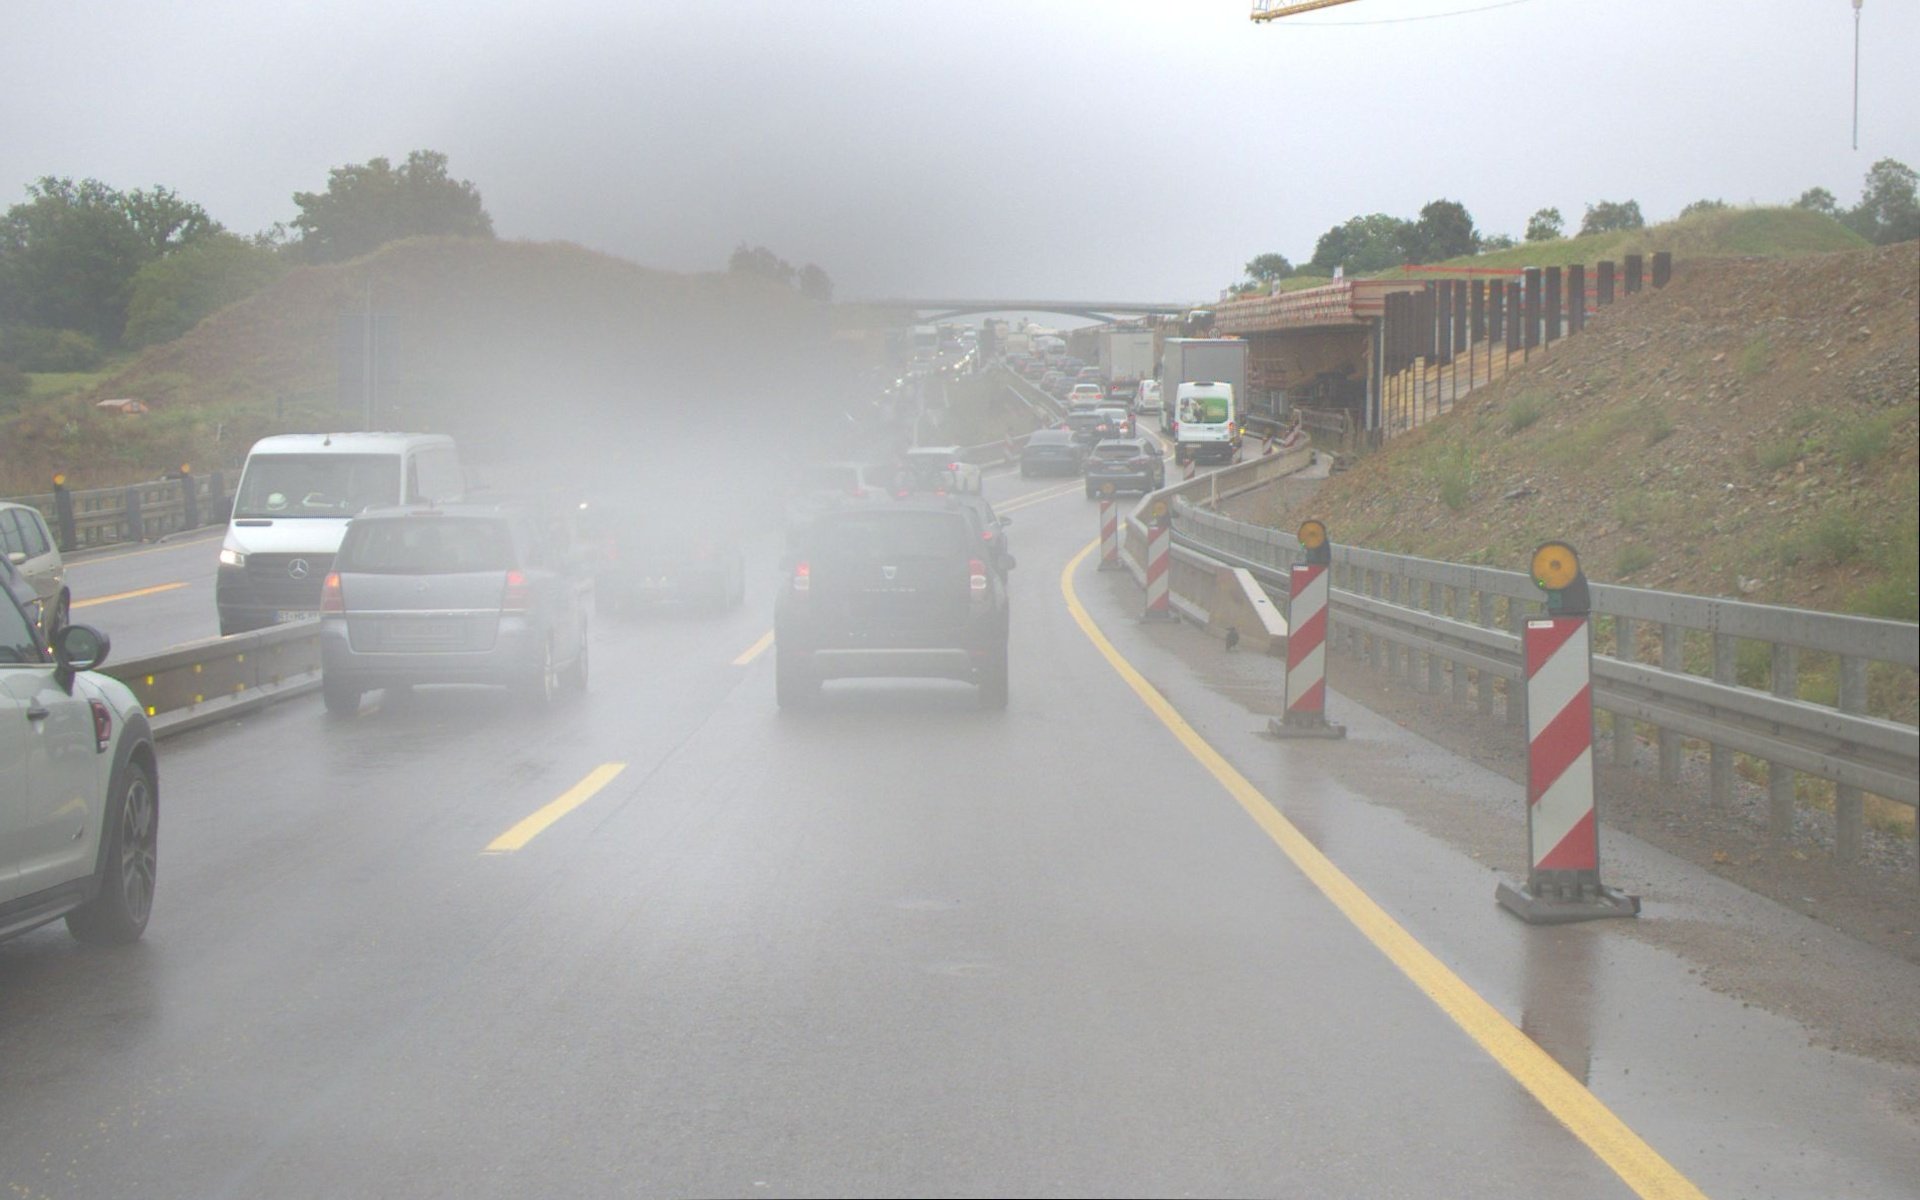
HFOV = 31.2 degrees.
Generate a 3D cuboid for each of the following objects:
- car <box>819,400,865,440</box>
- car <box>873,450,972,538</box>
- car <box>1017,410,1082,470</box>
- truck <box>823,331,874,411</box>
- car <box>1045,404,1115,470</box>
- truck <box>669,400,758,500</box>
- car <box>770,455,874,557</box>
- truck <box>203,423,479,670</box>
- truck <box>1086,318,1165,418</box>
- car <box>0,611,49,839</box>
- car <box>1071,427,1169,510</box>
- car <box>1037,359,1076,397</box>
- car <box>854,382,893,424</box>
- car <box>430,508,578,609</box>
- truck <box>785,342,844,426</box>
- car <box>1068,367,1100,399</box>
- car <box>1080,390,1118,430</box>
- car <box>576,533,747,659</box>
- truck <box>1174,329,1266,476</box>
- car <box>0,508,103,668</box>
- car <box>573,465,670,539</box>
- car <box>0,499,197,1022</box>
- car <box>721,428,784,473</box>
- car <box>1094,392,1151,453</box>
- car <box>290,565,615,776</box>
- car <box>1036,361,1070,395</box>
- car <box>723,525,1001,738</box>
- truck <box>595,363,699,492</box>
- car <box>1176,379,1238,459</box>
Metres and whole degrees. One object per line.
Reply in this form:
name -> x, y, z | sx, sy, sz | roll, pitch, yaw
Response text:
car -> -4.962, -7.615, 145.490 | 1.737, 1.678, 5.553 | 1, 3, 0
car -> -0.930, -2.685, 88.038 | 1.994, 2.155, 4.139 | 0, 1, 7
car -> 2.791, -5.022, 108.025 | 1.993, 1.755, 3.815 | 0, 1, 1
truck -> -7.769, -15.999, 240.683 | 3.142, 5.398, 8.524 | 1, 2, 1
car -> 4.177, -5.636, 119.338 | 1.994, 2.155, 4.139 | 0, 1, 8
truck -> -6.878, -4.197, 96.427 | 2.147, 2.704, 6.017 | 0, 2, -1
car -> -2.759, -1.875, 69.463 | 1.993, 2.007, 3.894 | 0, 1, -1
truck -> -6.853, -0.586, 38.726 | 2.078, 2.567, 5.962 | 0, 1, 0
truck -> 9.423, -13.195, 197.243 | 3.804, 5.025, 12.922 | 0, 1, -1
car -> -7.332, 0.888, 22.013 | 1.772, 1.499, 4.679 | 0, 1, 0
car -> 4.385, -3.556, 93.874 | 1.994, 2.155, 4.138 | 0, 1, 12
car -> 5.395, -12.448, 192.635 | 1.993, 2.006, 4.001 | -1, 2, 0
car -> -4.149, -9.482, 165.614 | 1.785, 1.803, 4.499 | 0, 1, 0
car -> -7.266, -0.693, 55.137 | 1.787, 1.533, 4.312 | 0, 1, 0
truck -> -8.786, -13.040, 208.599 | 3.083, 4.902, 8.565 | 1, 2, 1
car -> 8.442, -14.739, 233.623 | 1.993, 2.007, 4.000 | 0, 1, -1
car -> 7.115, -9.761, 176.684 | 1.849, 1.887, 4.021 | 0, 1, 1
car -> -3.897, -0.076, 45.477 | 1.993, 1.595, 4.141 | 0, 1, -1
truck -> 10.400, -7.736, 136.678 | 3.102, 5.407, 9.440 | 0, 1, 8
car -> -10.183, -0.172, 35.306 | 1.788, 1.541, 4.000 | 0, 2, 0
car -> -7.258, -2.129, 74.034 | 1.676, 1.518, 4.345 | 0, 2, 0
car -> -3.848, 0.474, 11.229 | 1.816, 1.595, 4.308 | 0, 1, -1
car -> -6.778, -4.909, 112.630 | 1.868, 1.466, 4.671 | 0, 3, -1
car -> 6.220, -6.756, 131.101 | 1.994, 2.155, 4.140 | 0, 1, 5
car -> -4.041, 0.512, 28.053 | 1.993, 1.595, 4.140 | 0, 1, 1
car -> 5.824, -13.954, 216.559 | 1.993, 2.006, 4.001 | -1, 2, 0
car -> -0.713, 0.211, 27.829 | 2.081, 1.595, 4.140 | 0, 1, 1
truck -> -9.939, -5.536, 109.941 | 2.641, 3.956, 9.215 | 0, 3, -1
car -> 8.351, -6.055, 115.797 | 1.994, 2.476, 4.981 | 0, 1, 5
